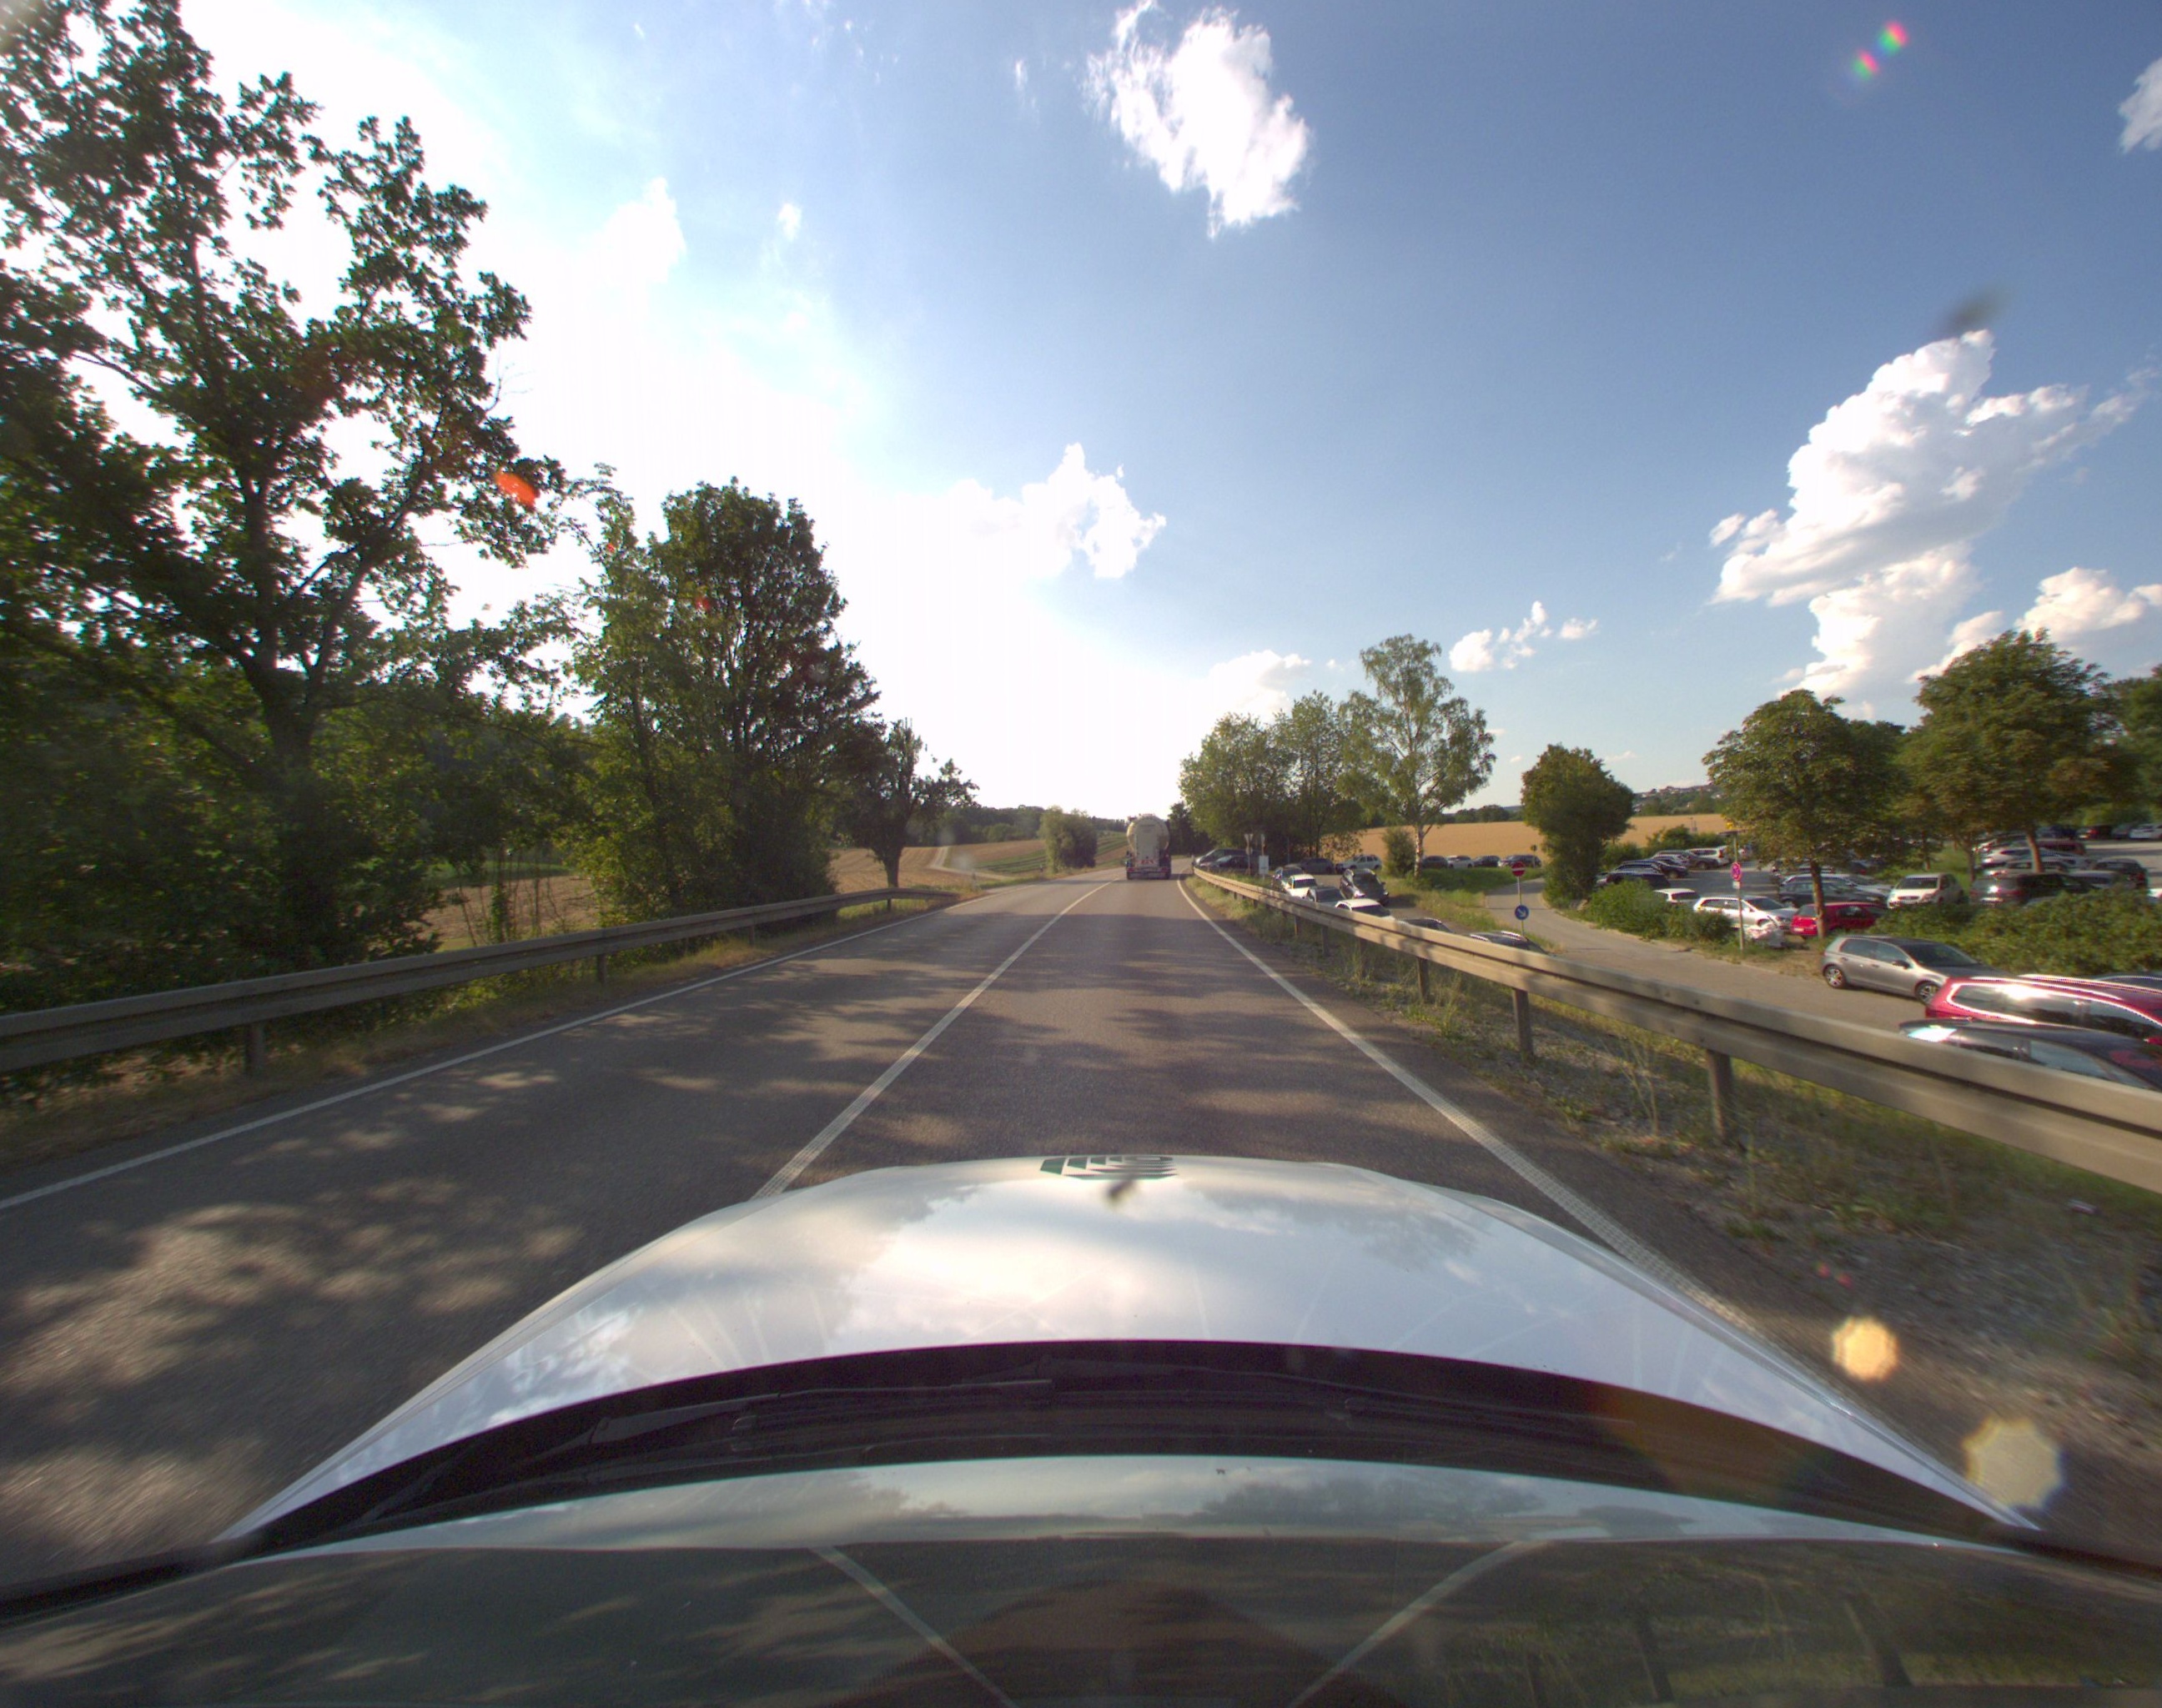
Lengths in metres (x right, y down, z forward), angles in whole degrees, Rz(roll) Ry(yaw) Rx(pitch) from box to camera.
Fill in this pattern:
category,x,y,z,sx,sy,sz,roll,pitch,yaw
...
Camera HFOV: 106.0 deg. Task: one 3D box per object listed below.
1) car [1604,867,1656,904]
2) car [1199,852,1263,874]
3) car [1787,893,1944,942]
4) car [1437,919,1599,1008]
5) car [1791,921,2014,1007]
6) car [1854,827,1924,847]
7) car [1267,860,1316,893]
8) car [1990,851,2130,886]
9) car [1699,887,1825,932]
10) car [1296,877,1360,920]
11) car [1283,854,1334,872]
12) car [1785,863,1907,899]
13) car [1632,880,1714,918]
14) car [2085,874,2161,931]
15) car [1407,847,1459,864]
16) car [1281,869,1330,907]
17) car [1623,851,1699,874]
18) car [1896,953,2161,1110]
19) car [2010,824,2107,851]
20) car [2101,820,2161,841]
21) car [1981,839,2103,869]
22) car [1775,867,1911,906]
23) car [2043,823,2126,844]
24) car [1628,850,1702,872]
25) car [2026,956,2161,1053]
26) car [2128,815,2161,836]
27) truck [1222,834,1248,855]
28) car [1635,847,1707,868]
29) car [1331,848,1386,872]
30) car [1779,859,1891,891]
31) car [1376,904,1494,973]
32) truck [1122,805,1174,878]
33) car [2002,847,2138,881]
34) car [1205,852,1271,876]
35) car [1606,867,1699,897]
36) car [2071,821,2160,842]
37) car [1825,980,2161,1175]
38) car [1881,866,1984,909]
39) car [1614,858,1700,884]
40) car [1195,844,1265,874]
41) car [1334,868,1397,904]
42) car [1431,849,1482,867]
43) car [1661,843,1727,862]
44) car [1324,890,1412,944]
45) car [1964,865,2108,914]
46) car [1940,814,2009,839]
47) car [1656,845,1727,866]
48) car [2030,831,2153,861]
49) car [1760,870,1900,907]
category,x,y,z,sx,sy,sz,roll,pitch,yaw
car,31.408,1.765,46.687,1.781,1.842,4.624,-2,0,26
car,10.853,0.681,58.992,4.328,1.399,1.708,2,1,-22
car,28.070,2.277,29.256,3.739,1.543,1.660,-2,0,11
car,12.006,2.942,22.812,1.886,1.559,4.783,-5,2,0
car,21.124,2.762,21.223,1.695,1.398,4.102,-5,2,1
car,76.530,-1.602,77.151,1.813,1.691,4.542,-2,0,-41
car,12.944,1.352,50.282,1.884,1.559,4.787,-5,2,3
car,51.707,0.770,43.111,1.811,1.691,4.548,-2,0,-33
car,28.219,2.248,33.927,1.793,1.543,3.997,-2,0,-2
car,11.956,2.110,39.760,1.883,1.559,4.789,-5,2,5
car,18.706,0.734,66.911,3.731,1.441,1.799,0,0,-20
car,39.827,1.397,42.549,4.538,1.691,1.815,-2,0,41
car,28.931,2.169,39.975,1.677,1.486,4.307,-2,1,13
car,34.958,1.550,25.181,1.802,1.691,4.570,-2,0,-17
car,29.973,0.137,69.299,4.605,1.441,1.794,0,0,-31
car,12.338,1.812,44.980,1.881,1.559,4.794,-5,2,8
car,45.399,0.712,63.834,1.813,1.691,4.542,-2,0,-41
car,16.588,2.830,12.906,1.891,1.686,5.073,-3,1,-8
car,74.963,-1.250,62.523,1.811,1.891,4.548,-2,0,-33
car,90.133,-2.015,69.006,1.813,1.691,4.542,-2,0,-41
car,58.073,0.013,49.301,1.811,1.691,4.548,-2,0,-33
car,37.657,1.557,40.379,1.807,1.691,4.557,-2,0,-26
car,92.056,-1.888,74.781,4.538,1.691,1.815,-2,0,41
car,47.318,0.553,66.046,1.813,1.691,4.542,-2,0,-41
car,20.623,2.893,14.666,1.695,1.398,4.786,-4,0,2
car,89.337,-2.412,66.529,1.813,1.691,4.542,-2,0,-41
truck,33.440,-2.058,176.556,3.156,4.227,13.240,-2,1,20
car,49.265,0.309,68.047,1.813,1.691,4.542,-2,0,-41
car,23.461,0.493,68.956,4.220,1.747,1.798,-3,1,-22
car,43.454,1.203,46.986,1.813,1.691,4.542,-2,0,-41
car,11.948,2.803,27.891,1.886,1.559,4.783,-5,2,0
truck,4.537,-0.729,53.633,2.878,4.142,13.193,-1,0,6
car,53.756,0.533,44.352,1.811,1.691,4.548,-2,0,-33
car,10.898,0.680,56.470,4.332,1.509,1.707,2,0,-25
car,35.339,1.737,50.532,4.538,1.691,1.815,-2,0,29
car,90.895,-1.947,71.638,4.538,1.691,1.815,-2,0,41
car,13.777,3.040,11.348,1.894,1.559,4.761,-5,2,-13
car,37.778,1.453,36.142,4.151,1.671,1.643,-2,0,-20
car,39.854,1.189,56.407,1.813,1.691,4.542,-2,0,-41
car,11.477,0.361,62.966,5.116,1.943,1.977,4,1,4
car,15.131,1.643,43.522,1.884,1.675,4.786,-2,0,3
car,34.723,0.346,75.240,4.657,1.507,1.981,-1,0,-30
car,56.416,-0.122,75.036,1.813,1.691,4.542,-2,0,-41
car,11.767,2.533,33.760,1.886,1.559,4.783,-5,2,0
car,38.523,1.383,32.897,4.133,1.753,1.813,-2,0,-7
car,92.418,-2.857,84.248,5.658,2.243,2.322,-3,-1,-13
car,52.244,0.138,69.792,1.813,1.691,4.542,-2,0,-41
car,61.573,-0.482,49.694,1.811,1.691,4.548,-2,0,-33
car,35.756,1.583,39.024,1.807,1.543,4.557,-2,0,-26
